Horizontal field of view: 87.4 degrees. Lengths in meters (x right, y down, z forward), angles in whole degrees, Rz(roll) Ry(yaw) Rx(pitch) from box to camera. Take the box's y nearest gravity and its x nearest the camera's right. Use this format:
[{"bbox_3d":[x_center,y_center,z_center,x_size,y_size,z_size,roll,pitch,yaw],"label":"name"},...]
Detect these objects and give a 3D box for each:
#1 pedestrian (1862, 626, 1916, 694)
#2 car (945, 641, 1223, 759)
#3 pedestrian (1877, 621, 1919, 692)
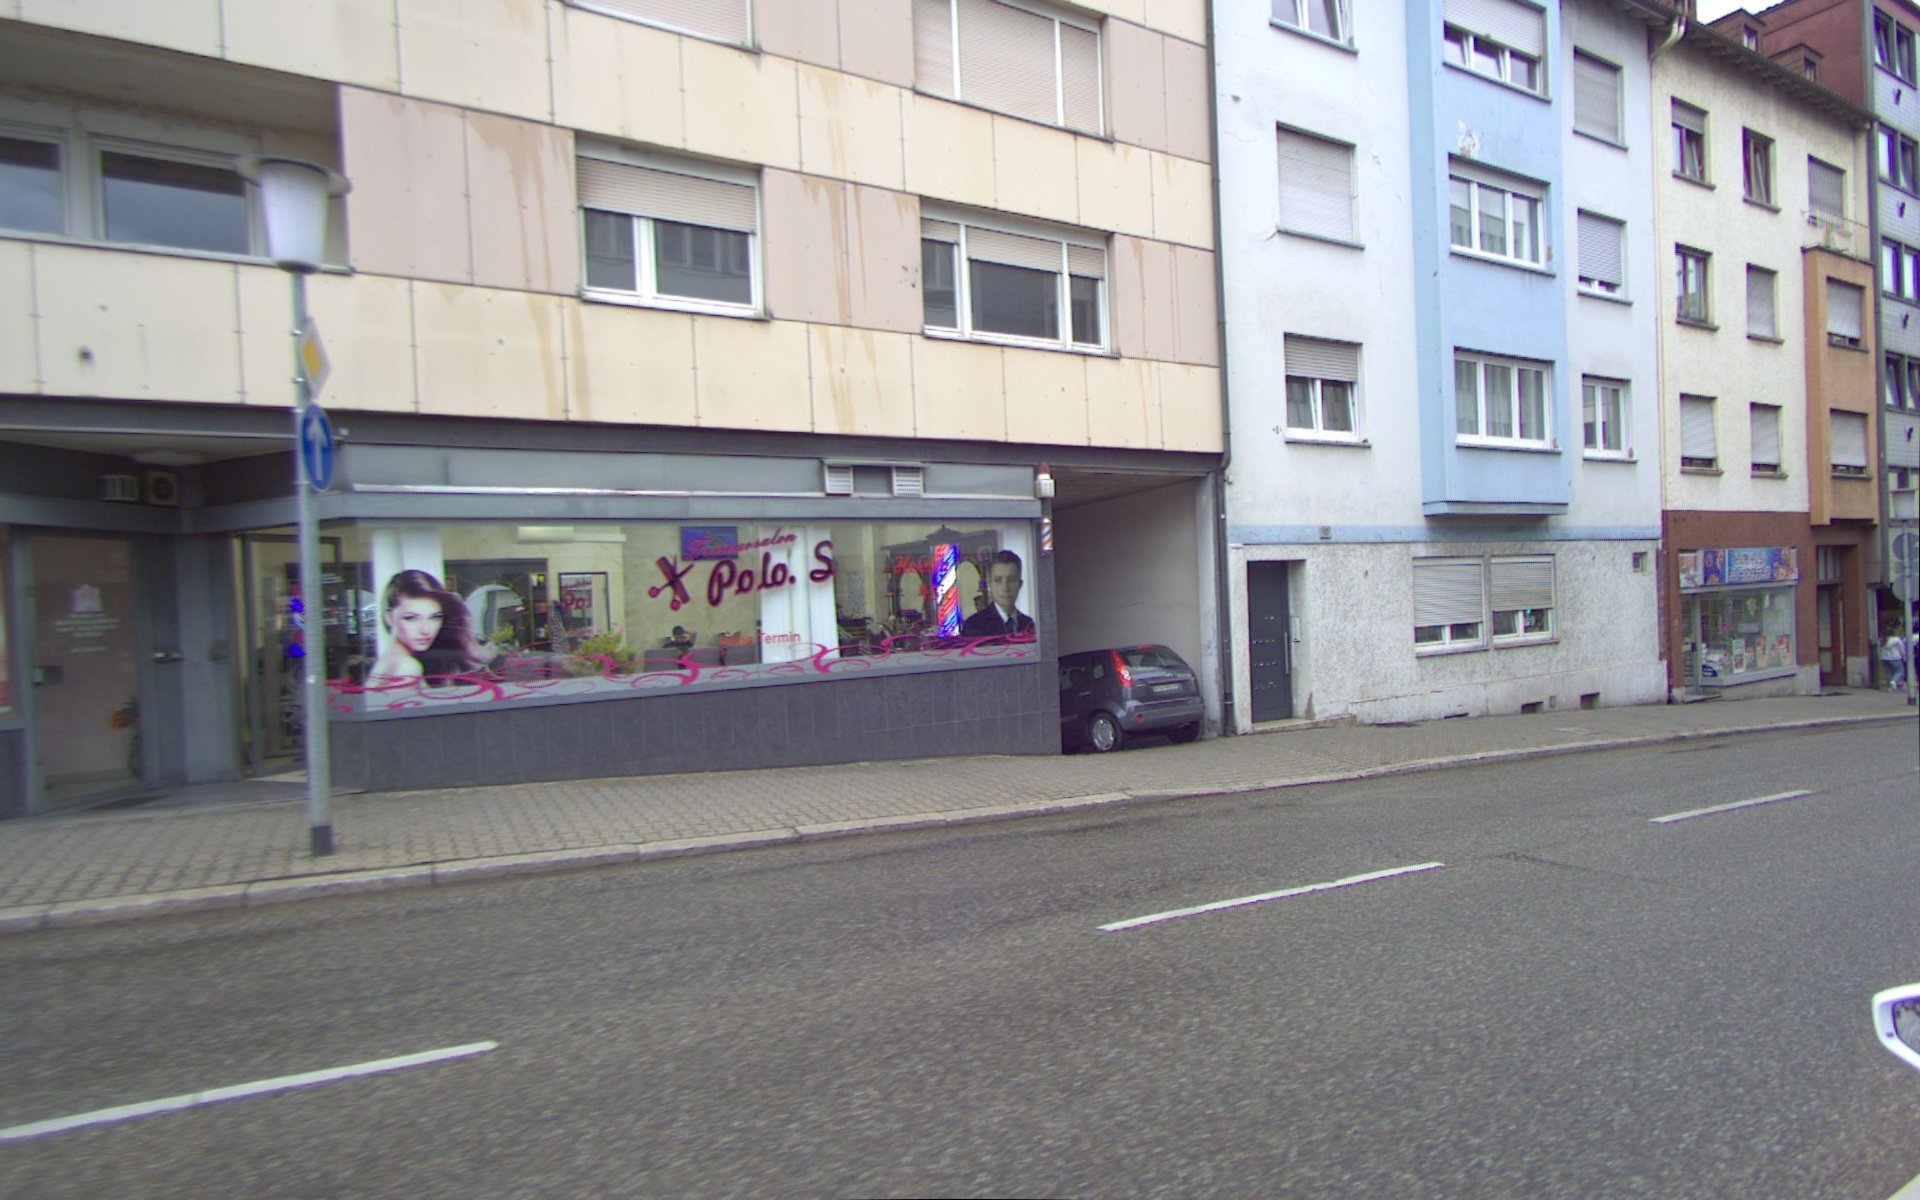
[{"bbox_3d":[22.521,1.429,24.343,0.717,1.581,0.821,1,1,-38],"label":"pedestrian"},{"bbox_3d":[1.642,1.508,14.603,1.663,1.367,3.963,-1,-7,-37],"label":"car"},{"bbox_3d":[23.460,1.384,24.974,0.717,1.712,0.821,1,1,-38],"label":"pedestrian"}]
